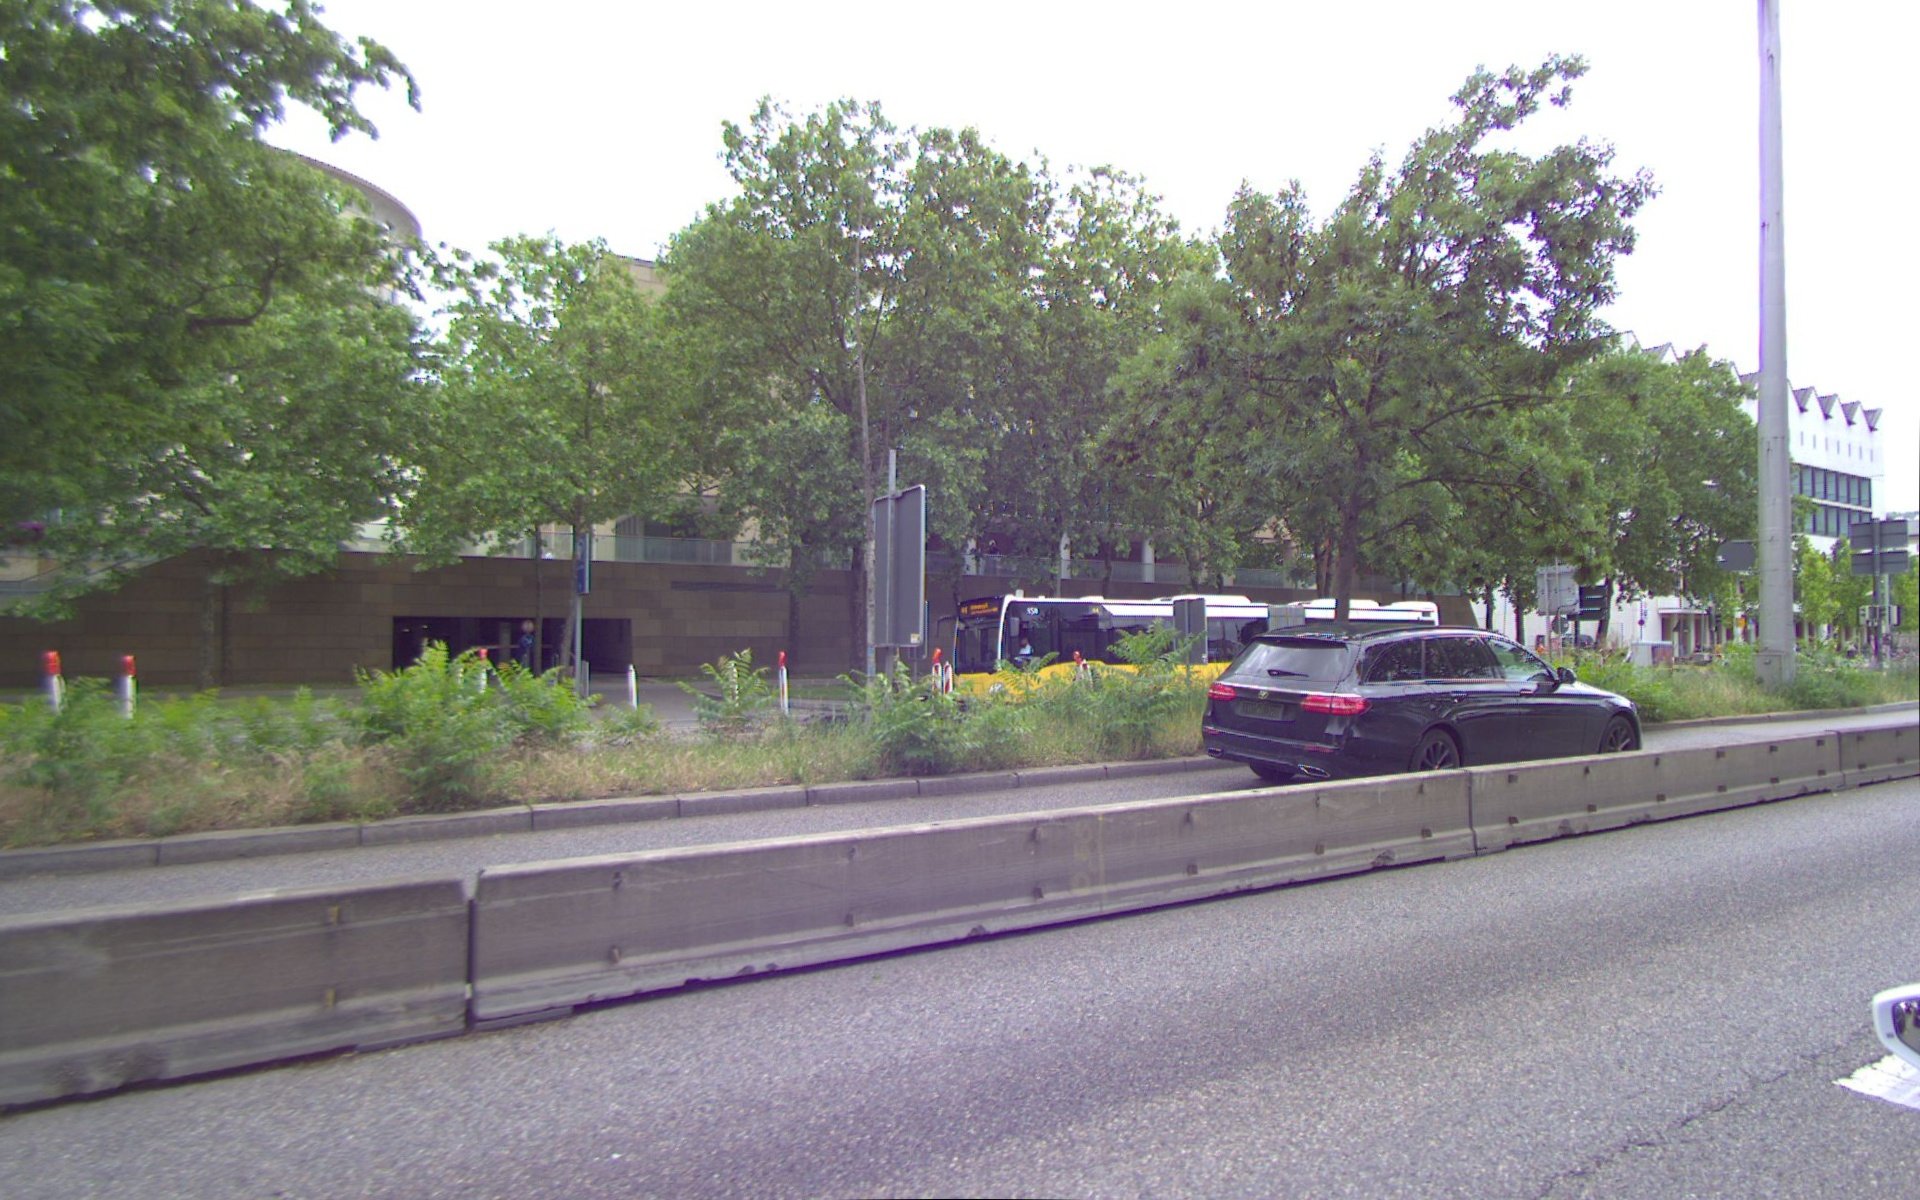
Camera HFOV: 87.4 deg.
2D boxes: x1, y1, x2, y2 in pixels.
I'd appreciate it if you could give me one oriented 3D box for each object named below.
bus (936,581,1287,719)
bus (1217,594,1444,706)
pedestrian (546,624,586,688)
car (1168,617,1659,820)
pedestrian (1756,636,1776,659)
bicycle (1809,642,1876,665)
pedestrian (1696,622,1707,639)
[{"bbox_3d":[4.525,1.400,28.323,10.329,3.348,2.898,2,-2,-31],"label":"bus"},{"bbox_3d":[12.245,1.625,33.024,7.618,3.347,2.908,2,-2,-31],"label":"bus"},{"bbox_3d":[-12.047,1.715,30.725,0.976,1.880,0.718,2,3,-30],"label":"pedestrian"},{"bbox_3d":[4.385,0.978,9.466,4.807,1.479,1.803,2,-1,-31],"label":"car"},{"bbox_3d":[55.986,3.274,69.764,0.865,1.577,0.598,-1,-2,18],"label":"pedestrian"},{"bbox_3d":[66.708,4.061,76.004,1.169,1.706,3.596,1,-3,-30],"label":"bicycle"},{"bbox_3d":[60.872,2.511,82.492,0.558,1.344,0.517,3,-4,-29],"label":"pedestrian"}]
